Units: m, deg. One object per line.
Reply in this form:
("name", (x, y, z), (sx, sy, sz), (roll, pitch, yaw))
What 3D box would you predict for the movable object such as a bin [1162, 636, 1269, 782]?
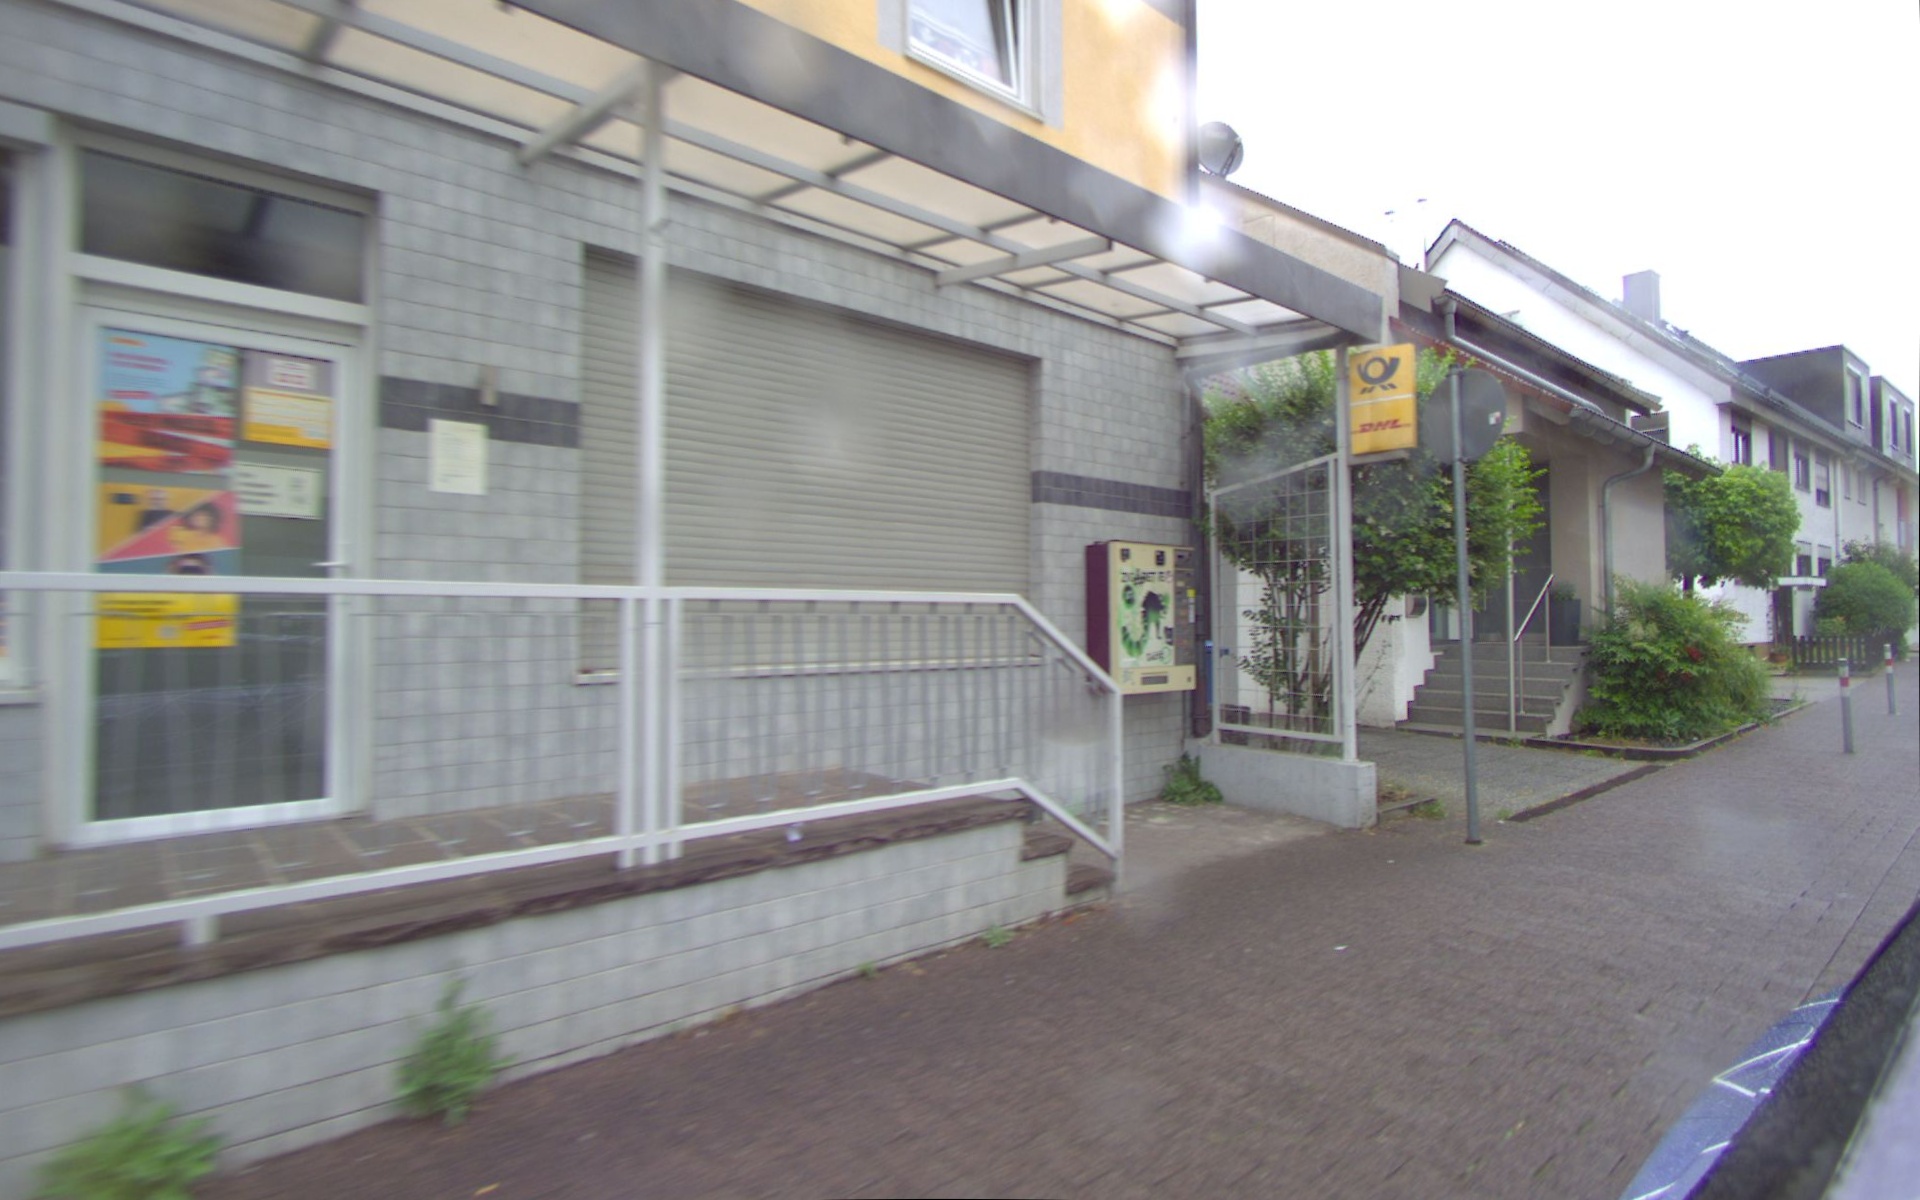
("movable object such as a bin", (2.083, 0.859, 8.261), (0.726, 1.095, 0.510), (1, -1, -38))
